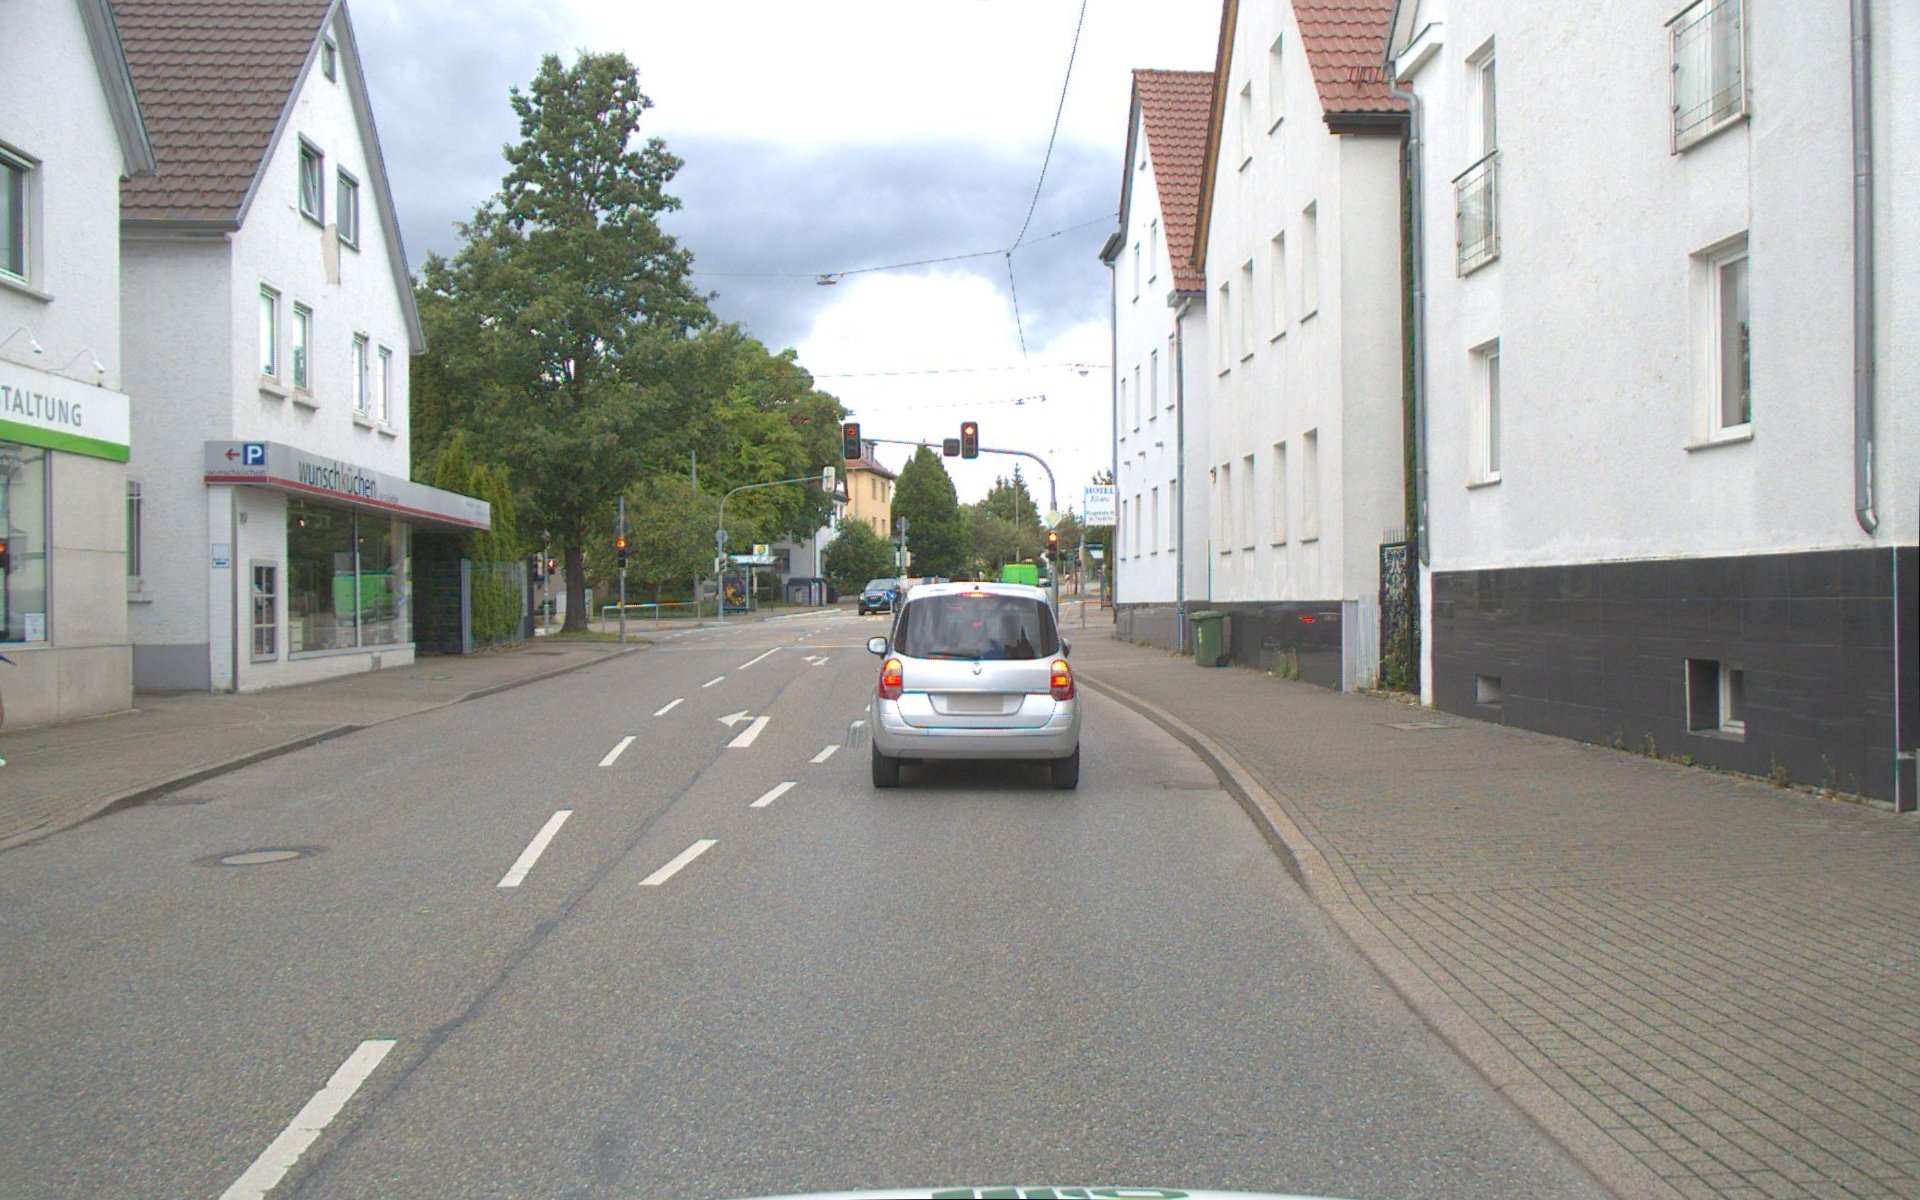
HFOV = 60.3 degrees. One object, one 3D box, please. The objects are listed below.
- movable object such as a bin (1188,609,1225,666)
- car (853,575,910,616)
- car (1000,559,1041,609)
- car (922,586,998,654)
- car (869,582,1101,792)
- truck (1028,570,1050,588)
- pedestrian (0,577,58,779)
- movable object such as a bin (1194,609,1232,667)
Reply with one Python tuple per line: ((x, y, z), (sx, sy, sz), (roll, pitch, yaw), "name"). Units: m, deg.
((4.328, 0.650, 29.035), (0.529, 0.957, 0.487), (-3, 0, -1), "movable object such as a bin")
((-3.779, -0.225, 80.209), (1.885, 1.804, 4.004), (-4, 0, 9), "car")
((3.223, -0.833, 87.042), (2.016, 2.556, 5.598), (0, 0, 3), "car")
((-0.035, 0.458, 39.717), (1.719, 1.557, 3.796), (0, 0, -2), "car")
((0.134, 0.644, 14.270), (1.719, 1.557, 3.999), (0, 0, -2), "car")
((9.236, -2.460, 192.832), (2.056, 2.049, 5.752), (0, 0, 8), "truck")
((-8.224, 0.629, 13.935), (0.736, 1.645, 0.792), (3, 0, -2), "pedestrian")
((4.363, 0.652, 28.499), (0.529, 0.957, 0.487), (-3, 0, -1), "movable object such as a bin")
